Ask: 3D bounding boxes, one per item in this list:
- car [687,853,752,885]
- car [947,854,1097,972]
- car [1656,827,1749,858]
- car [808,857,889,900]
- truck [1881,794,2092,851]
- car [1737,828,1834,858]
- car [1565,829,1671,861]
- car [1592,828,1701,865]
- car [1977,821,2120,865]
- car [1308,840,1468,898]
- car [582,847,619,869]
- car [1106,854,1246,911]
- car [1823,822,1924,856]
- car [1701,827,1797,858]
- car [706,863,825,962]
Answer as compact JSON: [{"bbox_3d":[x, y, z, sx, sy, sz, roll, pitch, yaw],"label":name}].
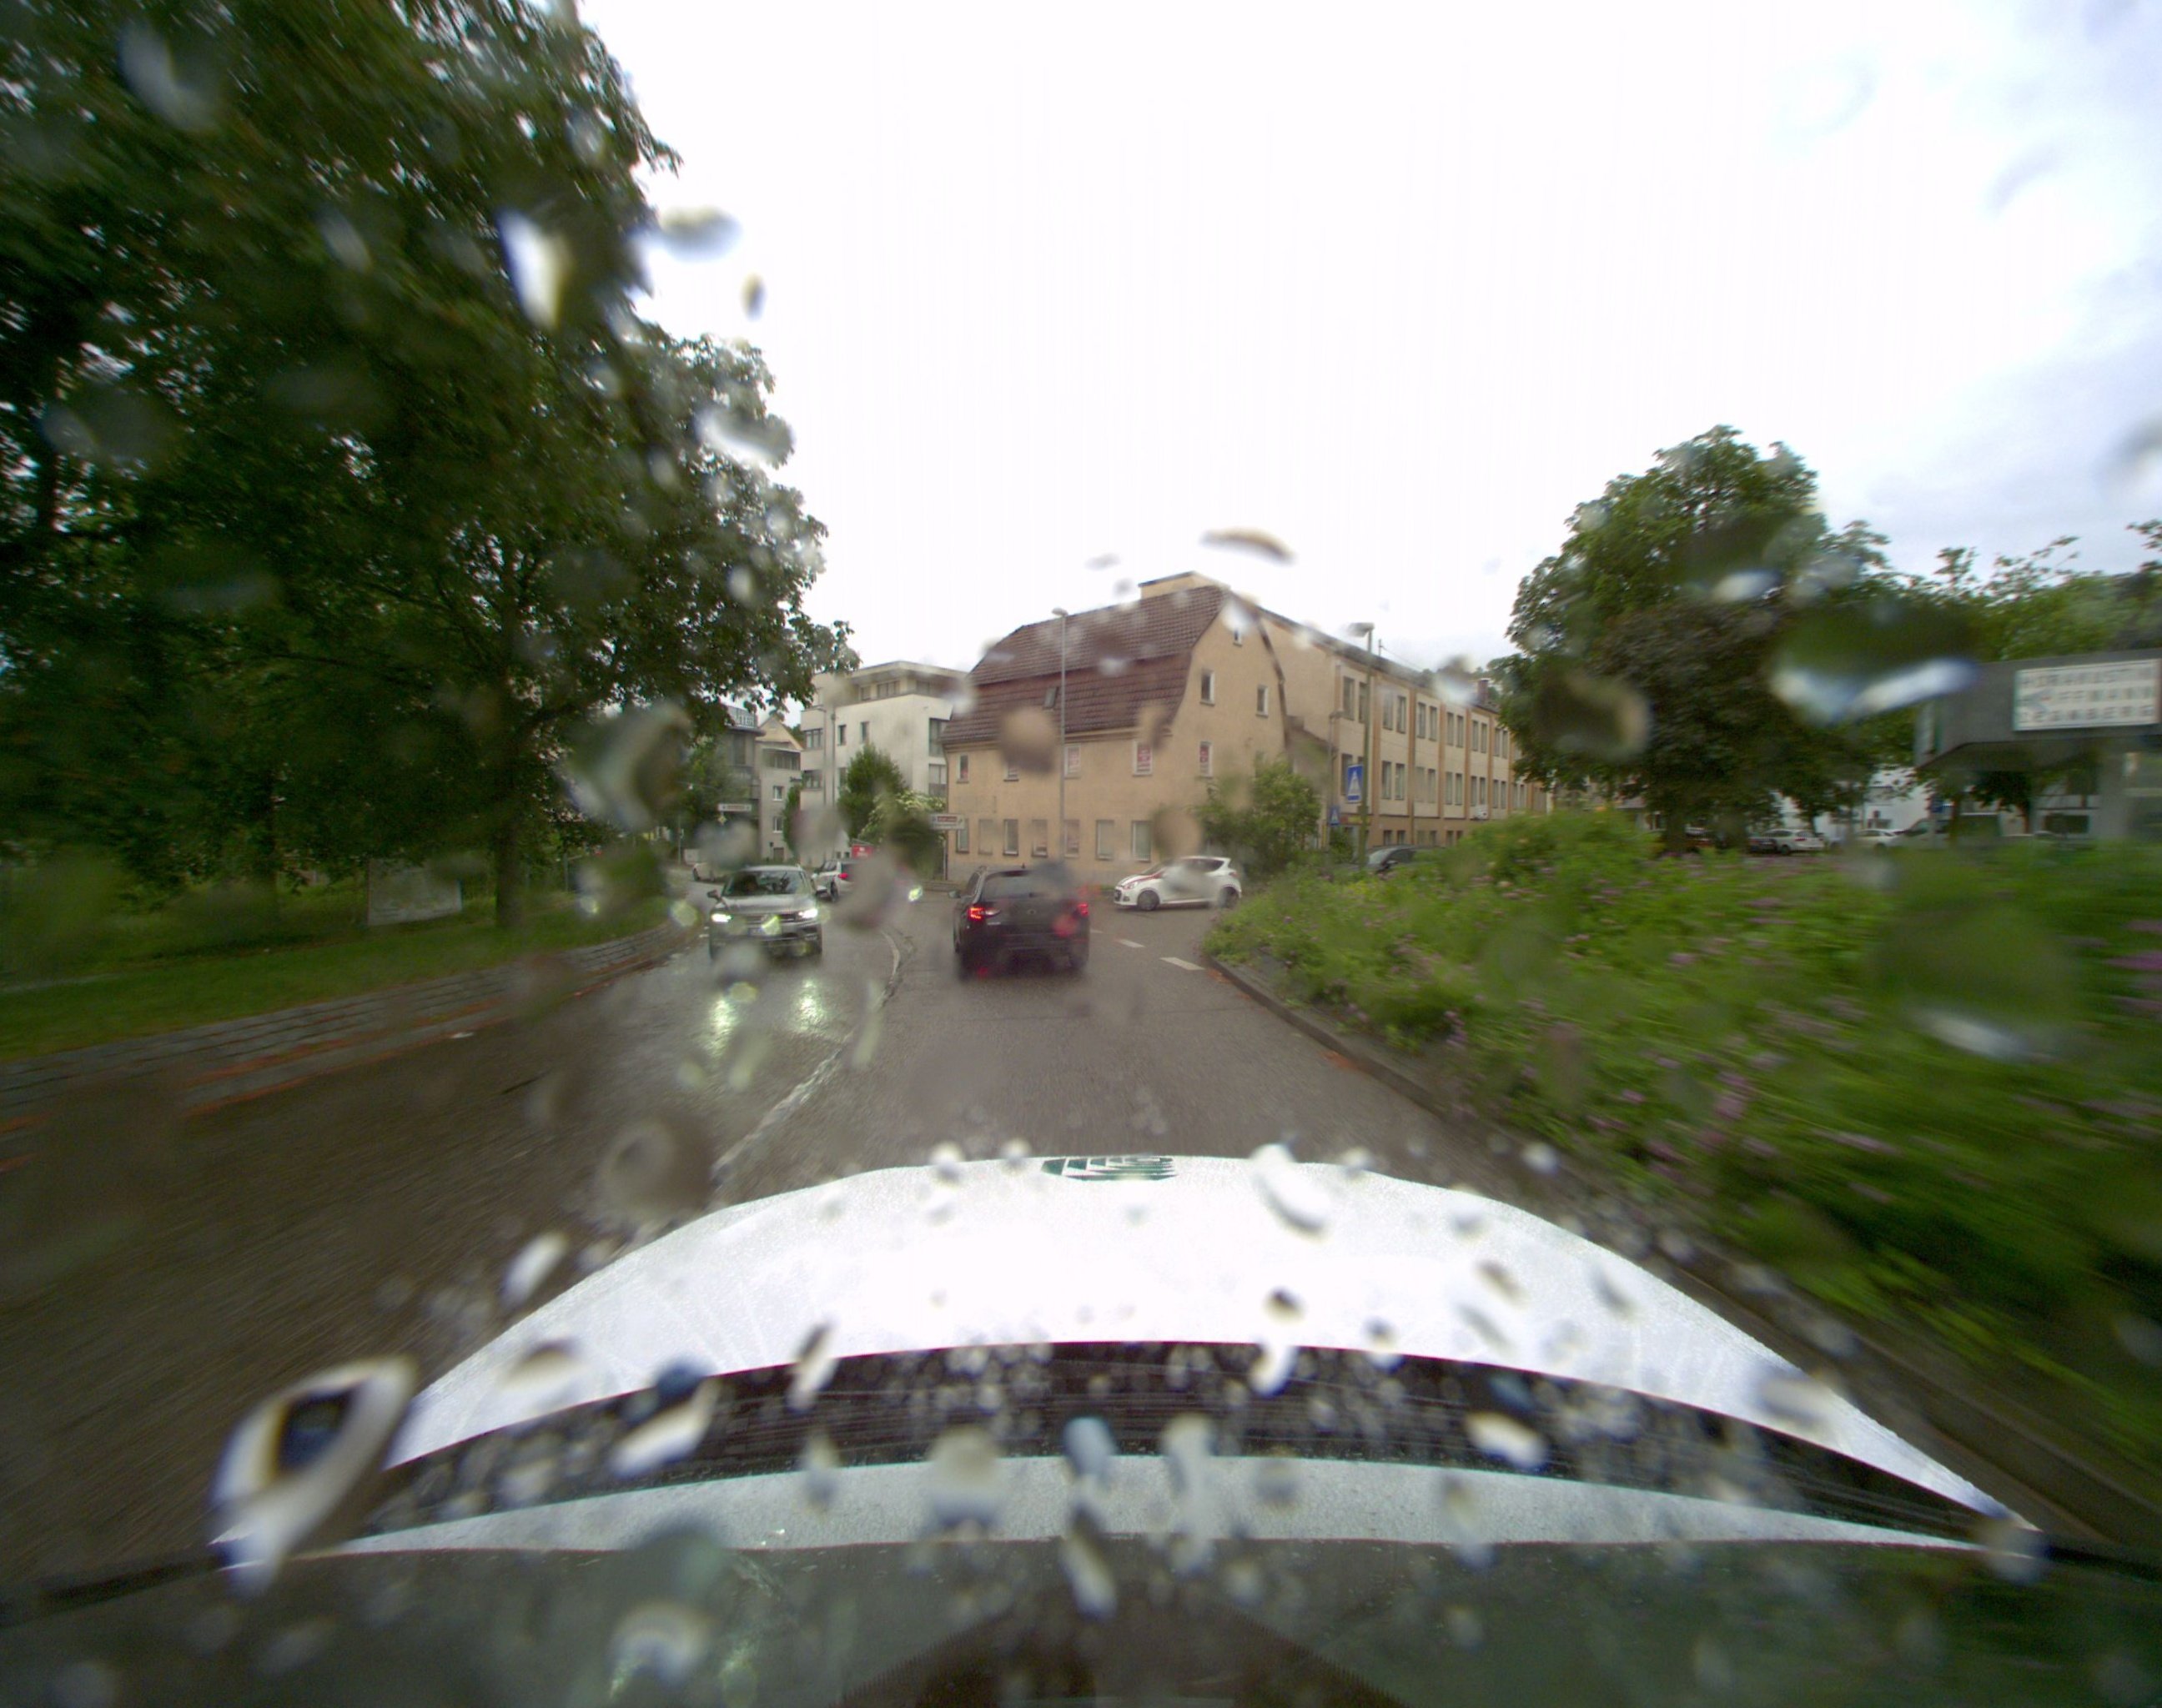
[{"bbox_3d":[-18.984,0.794,42.682,1.743,1.590,4.132,1,-2,-45],"label":"car"},{"bbox_3d":[-1.095,0.841,12.738,1.783,1.483,4.228,-1,-2,-12],"label":"car"},{"bbox_3d":[36.005,-0.684,47.313,1.805,1.667,4.032,2,0,-16],"label":"car"},{"bbox_3d":[-8.720,0.861,30.341,1.831,1.359,3.949,0,2,-33],"label":"car"},{"bbox_3d":[40.878,-1.312,37.156,2.291,2.275,6.689,-2,0,1],"label":"truck"},{"bbox_3d":[41.994,-0.654,48.642,1.805,1.667,4.032,2,0,-16],"label":"car"},{"bbox_3d":[27.261,-0.453,41.487,4.363,1.573,1.730,0,1,28],"label":"car"},{"bbox_3d":[25.544,-0.338,36.860,3.855,1.573,1.730,0,1,42],"label":"car"},{"bbox_3d":[43.711,-0.512,36.931,1.845,1.835,3.833,2,1,-1],"label":"car"},{"bbox_3d":[9.417,0.420,25.080,4.410,1.573,1.711,-1,1,-14],"label":"car"},{"bbox_3d":[-38.132,0.323,64.597,1.909,1.590,3.645,-2,2,-41],"label":"car"},{"bbox_3d":[2.739,0.788,23.826,3.751,1.453,1.706,-1,1,-10],"label":"car"},{"bbox_3d":[47.105,-0.866,48.534,1.796,1.876,4.302,2,0,-1],"label":"car"},{"bbox_3d":[39.331,-0.672,48.079,1.805,1.667,4.032,2,0,-16],"label":"car"},{"bbox_3d":[-5.836,0.997,15.492,1.732,1.543,4.275,-2,-1,-17],"label":"car"}]
